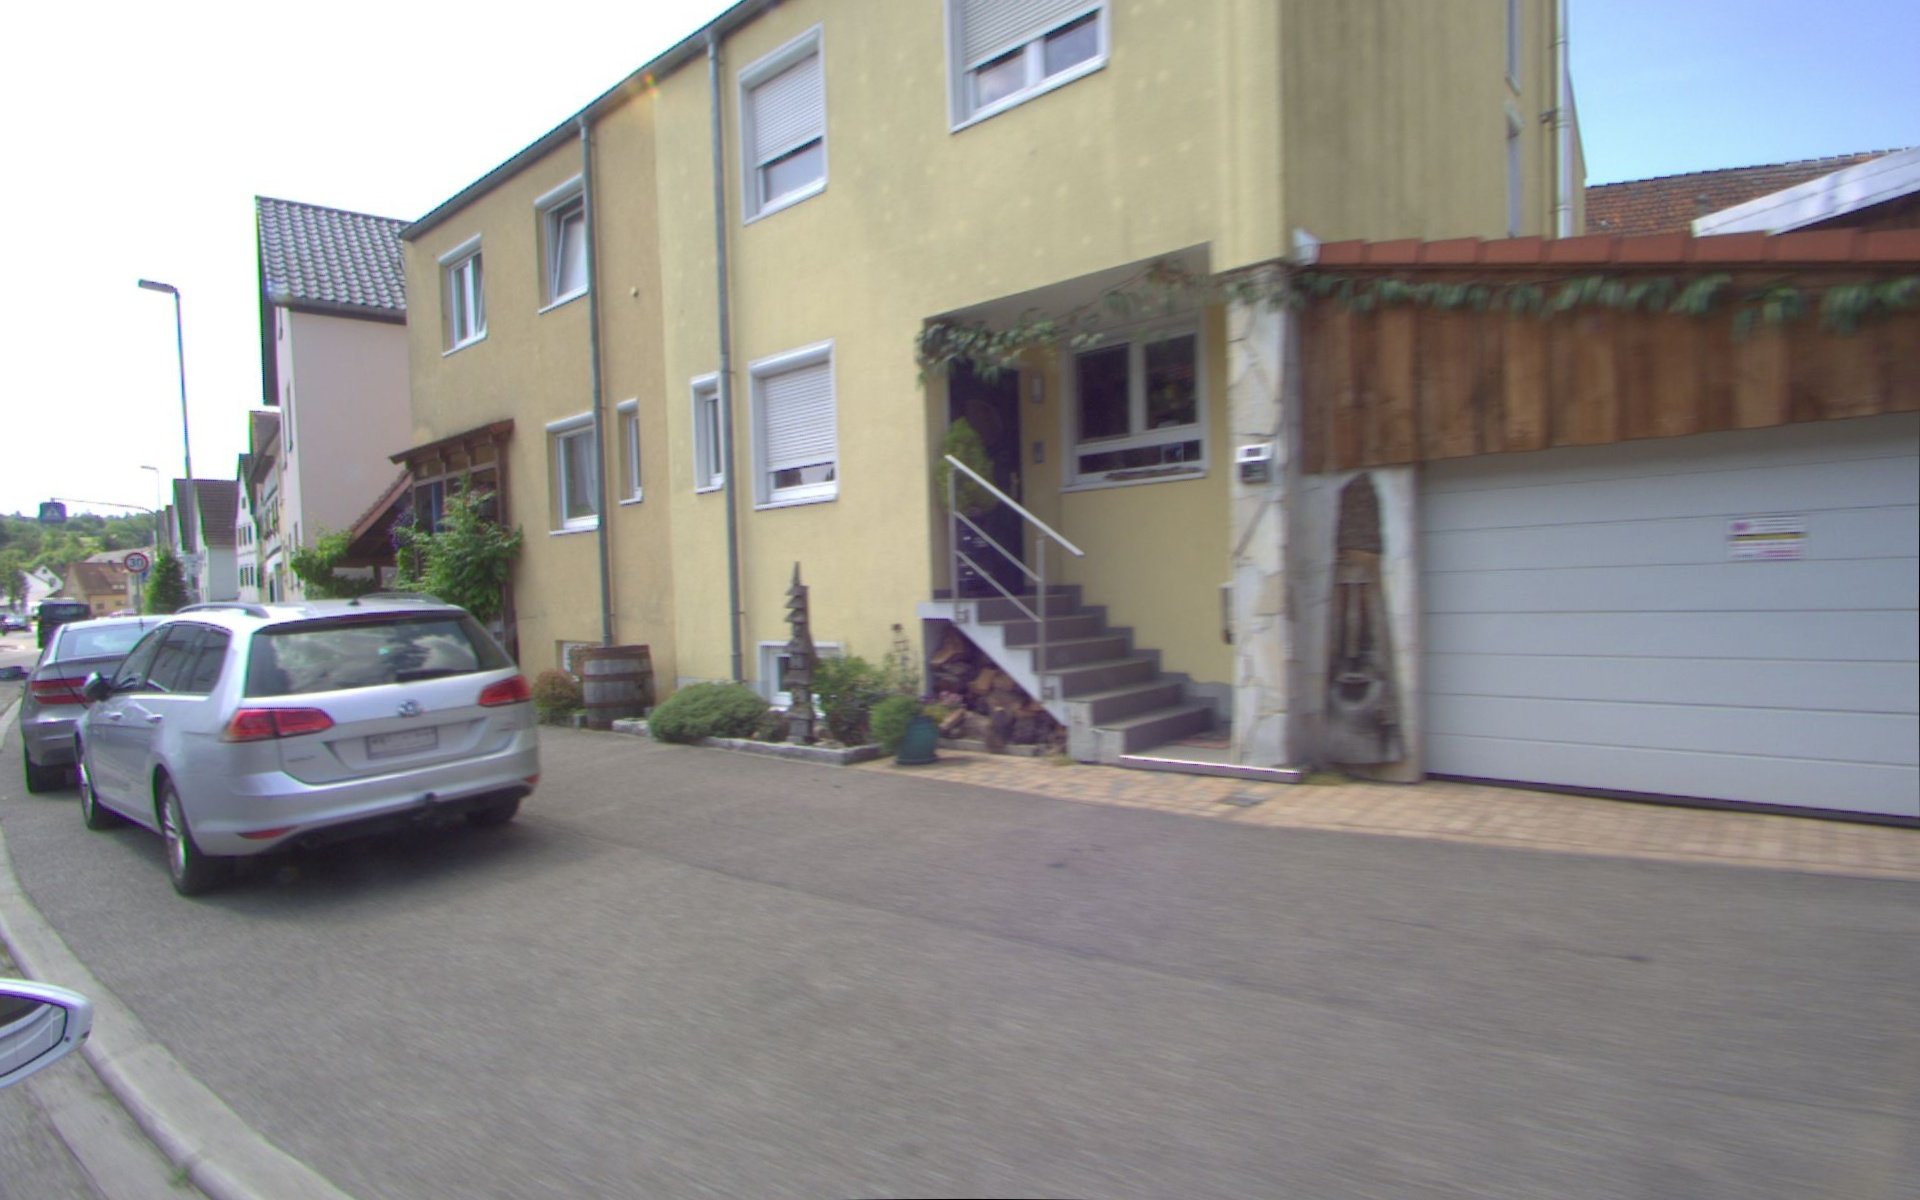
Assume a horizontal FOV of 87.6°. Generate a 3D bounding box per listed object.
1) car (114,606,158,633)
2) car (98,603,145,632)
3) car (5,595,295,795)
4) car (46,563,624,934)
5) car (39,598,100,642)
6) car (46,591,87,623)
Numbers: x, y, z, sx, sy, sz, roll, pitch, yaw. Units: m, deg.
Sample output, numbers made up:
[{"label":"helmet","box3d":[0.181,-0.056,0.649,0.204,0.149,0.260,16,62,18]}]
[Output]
[{"label":"car","box3d":[-50.356,1.200,61.197,1.978,1.527,3.967,-1,-1,-40]},{"label":"car","box3d":[-48.016,1.032,57.326,1.978,1.527,3.967,-1,-1,-40]},{"label":"car","box3d":[-8.078,0.800,9.854,1.757,1.419,4.383,-6,2,-43]},{"label":"car","box3d":[-4.207,0.664,6.445,4.285,1.551,1.874,-1,3,41]},{"label":"car","box3d":[-40.572,0.919,45.652,1.979,1.839,3.966,-1,-1,-42]},{"label":"car","box3d":[-61.650,0.519,69.143,1.978,2.039,3.967,-1,-1,-41]}]
